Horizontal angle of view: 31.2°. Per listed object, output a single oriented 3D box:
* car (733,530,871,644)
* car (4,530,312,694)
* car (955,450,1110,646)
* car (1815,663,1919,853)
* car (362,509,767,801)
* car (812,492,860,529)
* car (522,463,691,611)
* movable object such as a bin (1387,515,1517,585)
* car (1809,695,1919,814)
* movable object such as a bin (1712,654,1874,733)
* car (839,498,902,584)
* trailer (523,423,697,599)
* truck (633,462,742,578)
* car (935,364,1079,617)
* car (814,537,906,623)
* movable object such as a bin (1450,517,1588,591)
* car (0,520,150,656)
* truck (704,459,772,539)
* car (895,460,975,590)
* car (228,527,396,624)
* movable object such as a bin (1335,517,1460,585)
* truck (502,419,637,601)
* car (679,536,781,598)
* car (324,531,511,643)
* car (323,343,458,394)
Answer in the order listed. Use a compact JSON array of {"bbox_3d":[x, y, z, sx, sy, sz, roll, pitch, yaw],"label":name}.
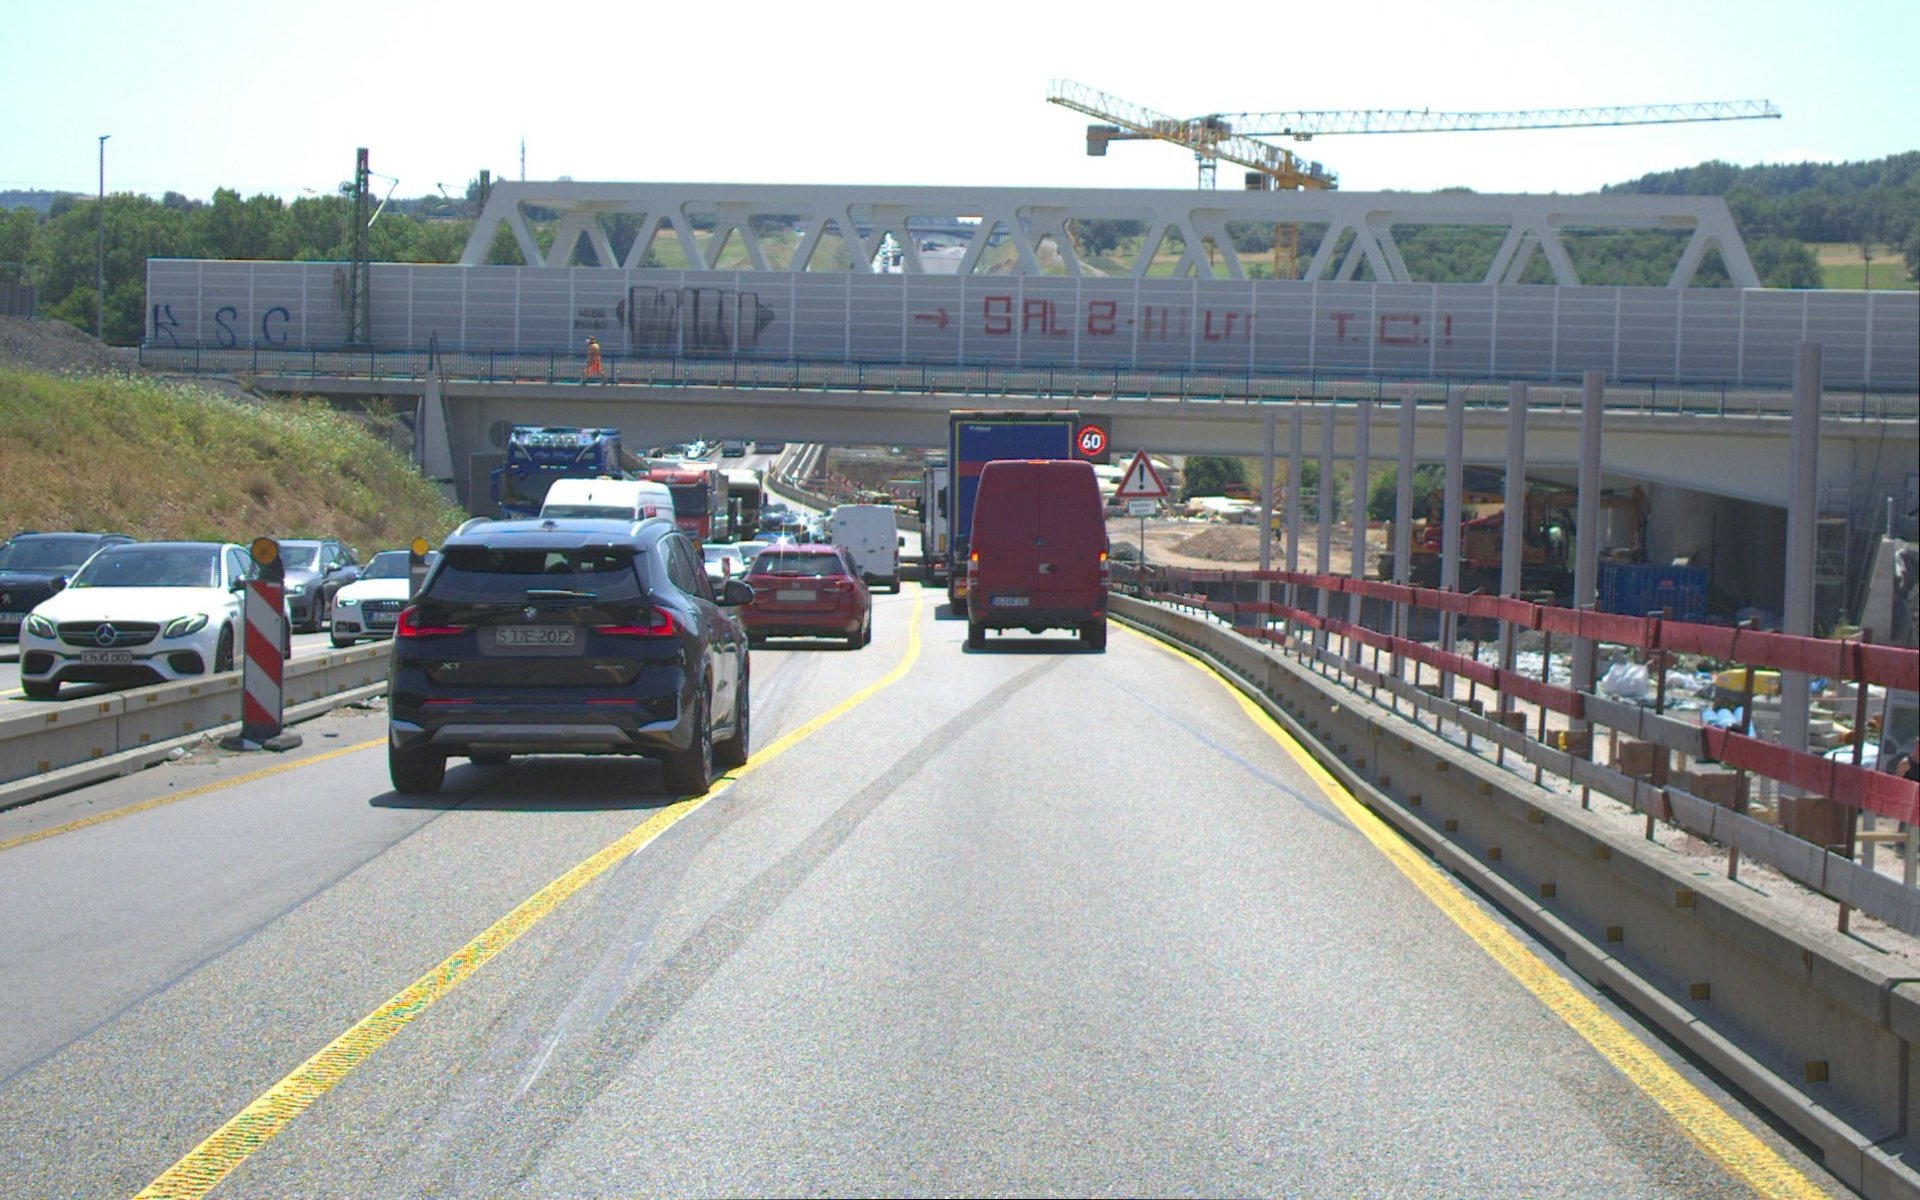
[{"bbox_3d":[-2.204,-0.218,48.834,1.776,1.512,4.206,0,2,0],"label":"car"},{"bbox_3d":[-7.867,0.060,34.211,1.961,1.459,4.941,1,1,-1],"label":"car"},{"bbox_3d":[0.988,-0.770,49.390,1.988,2.681,4.624,0,1,-2],"label":"car"},{"bbox_3d":[16.397,2.428,52.007,6.086,2.576,2.531,2,3,-10],"label":"car"},{"bbox_3d":[-2.319,0.243,21.305,1.880,1.612,4.499,0,2,1],"label":"car"},{"bbox_3d":[-6.932,-5.004,192.209,1.993,2.007,4.001,1,1,-12],"label":"car"},{"bbox_3d":[-6.567,-1.207,64.694,1.994,2.598,7.010,1,1,4],"label":"car"},{"bbox_3d":[20.313,-2.073,142.041,5.147,2.798,2.142,1,1,5],"label":"movable object such as a bin"},{"bbox_3d":[17.089,2.689,58.453,4.728,1.767,2.000,3,3,0],"label":"car"},{"bbox_3d":[18.387,2.039,75.939,3.103,1.558,1.550,2,2,35],"label":"movable object such as a bin"},{"bbox_3d":[-2.594,-1.711,99.047,1.775,2.433,4.207,0,1,-2],"label":"car"},{"bbox_3d":[-8.492,-2.182,84.783,2.348,4.001,11.449,1,1,4],"label":"trailer"},{"bbox_3d":[-9.579,-2.858,122.088,2.835,3.839,12.913,1,1,0],"label":"truck"},{"bbox_3d":[0.899,-2.317,73.517,2.621,5.015,10.398,0,1,-2],"label":"car"},{"bbox_3d":[-2.081,-0.437,70.629,1.839,1.648,4.165,0,2,-2],"label":"car"},{"bbox_3d":[21.942,-1.818,135.107,5.147,2.798,2.142,1,1,5],"label":"movable object such as a bin"},{"bbox_3d":[-11.130,-0.188,41.582,1.694,1.526,4.000,1,1,0],"label":"car"},{"bbox_3d":[-11.095,-5.057,172.792,2.834,3.839,12.914,1,1,-1],"label":"truck"},{"bbox_3d":[-0.865,-2.486,113.490,2.450,4.146,6.861,0,1,-2],"label":"car"},{"bbox_3d":[-10.262,-0.416,54.717,1.765,1.442,4.128,1,1,2],"label":"car"},{"bbox_3d":[18.642,-2.114,146.812,5.147,2.798,2.142,1,1,5],"label":"movable object such as a bin"},{"bbox_3d":[-8.870,-2.047,78.360,2.358,4.001,4.000,1,1,3],"label":"truck"},{"bbox_3d":[-5.512,-0.818,82.876,1.817,1.379,4.583,1,1,4],"label":"car"},{"bbox_3d":[-7.607,-0.222,48.577,1.800,1.442,4.637,1,1,1],"label":"car"},{"bbox_3d":[-21.272,-8.663,128.506,4.556,1.776,1.959,1,1,12],"label":"car"}]
